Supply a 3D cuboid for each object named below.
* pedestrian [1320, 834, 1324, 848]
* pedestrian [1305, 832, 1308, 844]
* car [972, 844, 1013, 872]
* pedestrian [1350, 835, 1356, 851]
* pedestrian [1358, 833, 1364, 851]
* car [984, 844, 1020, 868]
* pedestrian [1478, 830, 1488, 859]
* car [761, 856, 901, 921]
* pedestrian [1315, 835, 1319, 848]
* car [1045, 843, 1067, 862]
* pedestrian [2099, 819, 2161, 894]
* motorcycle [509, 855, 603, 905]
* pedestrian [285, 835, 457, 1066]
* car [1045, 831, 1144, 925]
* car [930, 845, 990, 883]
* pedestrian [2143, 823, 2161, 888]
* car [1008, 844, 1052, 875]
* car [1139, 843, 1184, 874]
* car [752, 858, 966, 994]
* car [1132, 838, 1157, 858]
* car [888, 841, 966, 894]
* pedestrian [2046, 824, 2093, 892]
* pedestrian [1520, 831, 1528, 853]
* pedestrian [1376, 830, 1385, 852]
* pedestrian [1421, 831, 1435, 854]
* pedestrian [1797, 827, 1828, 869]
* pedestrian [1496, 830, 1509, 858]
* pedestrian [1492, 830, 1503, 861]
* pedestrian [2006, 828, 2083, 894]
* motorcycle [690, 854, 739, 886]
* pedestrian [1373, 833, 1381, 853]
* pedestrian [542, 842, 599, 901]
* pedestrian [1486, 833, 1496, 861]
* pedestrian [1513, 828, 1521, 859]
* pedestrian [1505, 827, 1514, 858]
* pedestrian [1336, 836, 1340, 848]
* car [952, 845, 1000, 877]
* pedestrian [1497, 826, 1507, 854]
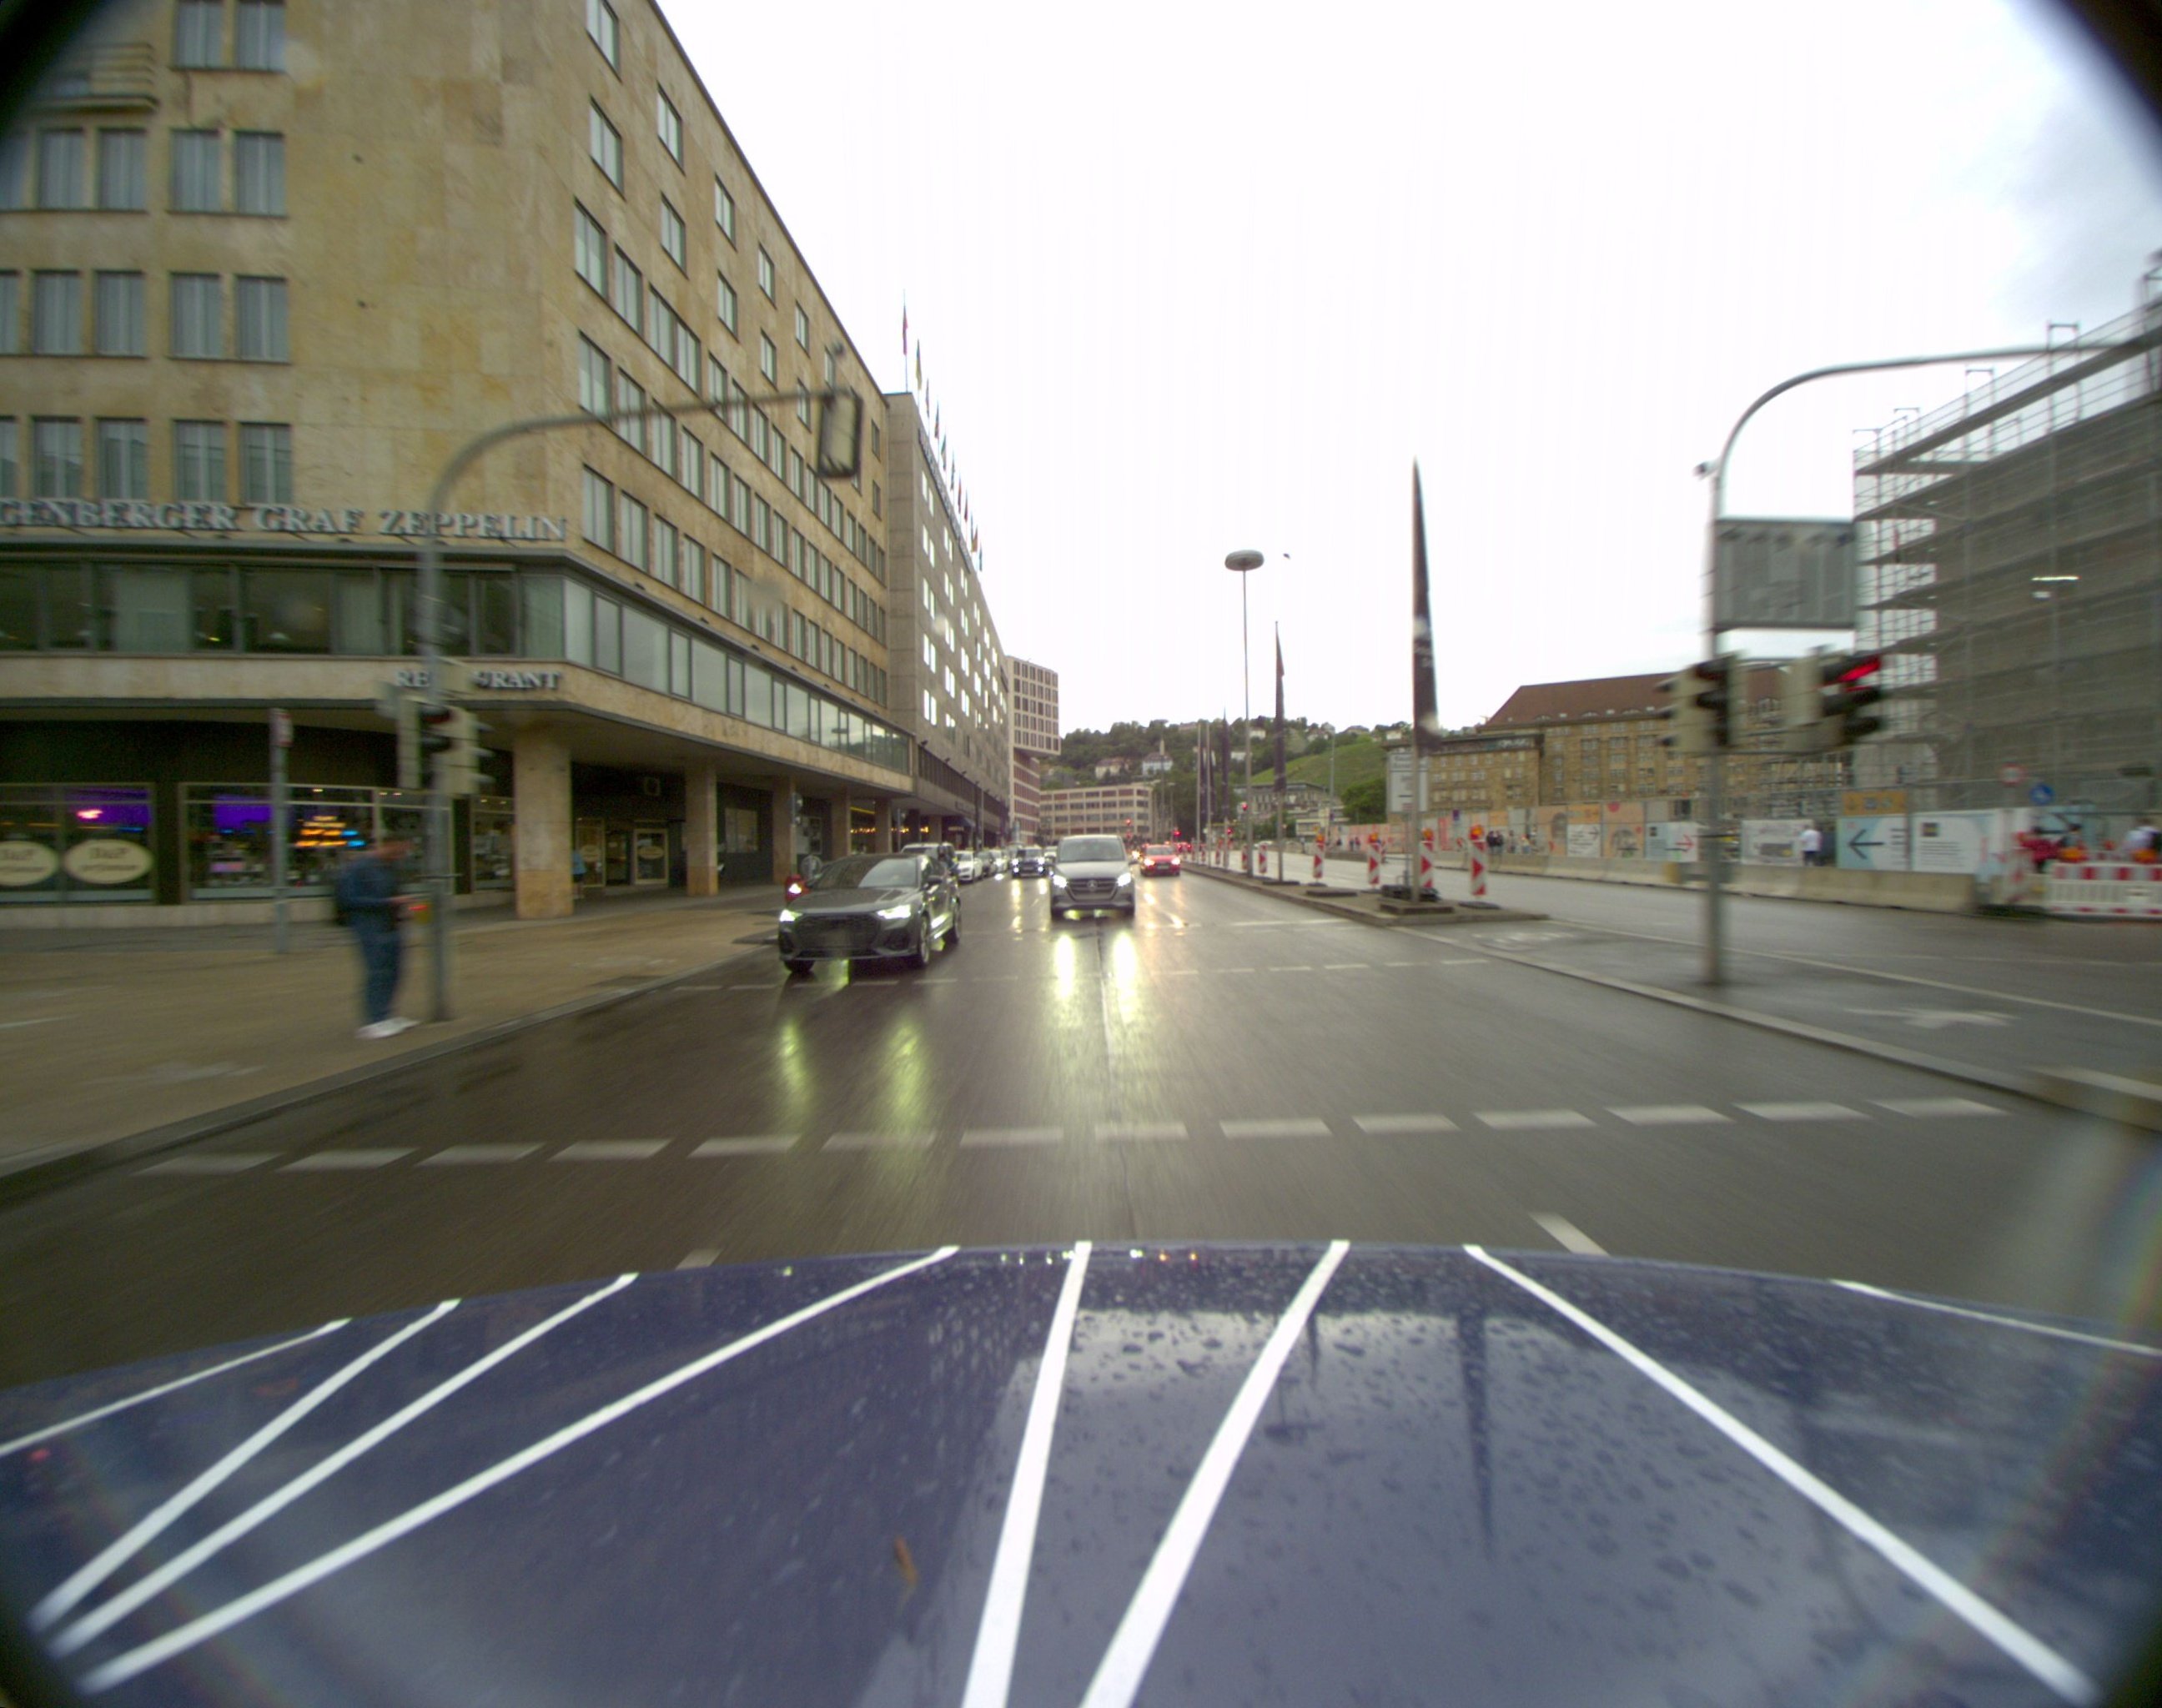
[{"bbox_3d":[29.938,-1.616,94.471,0.387,1.607,0.413,-2,1,0],"label":"pedestrian"},{"bbox_3d":[31.532,-2.237,106.291,0.334,1.607,0.323,-2,1,0],"label":"pedestrian"},{"bbox_3d":[-5.585,0.219,48.487,1.998,1.600,4.875,-1,1,0],"label":"car"},{"bbox_3d":[27.475,-1.134,76.681,0.438,1.607,0.413,-2,1,0],"label":"pedestrian"},{"bbox_3d":[26.484,-1.127,71.874,0.438,1.607,0.413,-2,1,0],"label":"pedestrian"},{"bbox_3d":[-5.629,0.088,54.806,1.998,1.605,4.917,-1,1,0],"label":"car"},{"bbox_3d":[24.390,-0.555,46.109,0.367,1.759,0.390,-2,1,4],"label":"pedestrian"},{"bbox_3d":[-6.419,0.828,20.160,2.194,1.406,4.481,-1,1,0],"label":"car"},{"bbox_3d":[29.408,-1.571,94.583,0.375,1.607,0.357,-2,1,0],"label":"pedestrian"},{"bbox_3d":[-2.271,-0.136,69.107,1.763,1.582,3.841,-2,1,0],"label":"car"},{"bbox_3d":[24.110,0.050,17.264,0.756,1.655,0.872,-1,1,1],"label":"pedestrian"},{"bbox_3d":[-16.811,0.794,24.469,0.964,1.445,2.850,-1,1,0],"label":"motorcycle"},{"bbox_3d":[-6.223,0.805,6.711,0.674,1.908,0.792,-2,1,0],"label":"pedestrian"},{"bbox_3d":[0.166,0.483,18.711,1.999,1.893,5.248,-3,1,-3],"label":"car"},{"bbox_3d":[-5.708,0.417,36.479,1.998,1.644,5.134,-1,1,0],"label":"car"},{"bbox_3d":[27.781,0.042,19.290,0.665,1.655,0.697,-2,2,-9],"label":"pedestrian"},{"bbox_3d":[-2.659,0.249,40.502,1.998,1.549,3.908,-1,1,0],"label":"car"},{"bbox_3d":[3.767,0.182,36.207,1.747,1.369,3.999,-1,1,0],"label":"car"},{"bbox_3d":[-2.968,0.877,11.172,1.877,1.499,4.163,-1,1,0],"label":"car"},{"bbox_3d":[5.126,-0.499,61.699,1.672,1.513,3.724,-2,1,0],"label":"car"},{"bbox_3d":[-5.942,0.439,29.984,1.998,1.874,4.996,-1,1,0],"label":"car"},{"bbox_3d":[26.060,0.108,20.037,0.648,1.759,0.527,0,2,40],"label":"pedestrian"},{"bbox_3d":[25.152,-0.682,43.153,0.255,1.187,0.390,-2,2,6],"label":"pedestrian"},{"bbox_3d":[28.008,-1.174,71.063,0.593,2.022,0.686,-2,1,0],"label":"pedestrian"},{"bbox_3d":[25.516,-0.827,55.876,0.807,1.675,0.617,-1,1,3],"label":"pedestrian"},{"bbox_3d":[25.617,-0.222,26.615,0.565,1.435,0.528,-1,1,8],"label":"pedestrian"},{"bbox_3d":[26.239,-0.629,47.270,0.517,1.745,0.463,-2,2,0],"label":"pedestrian"},{"bbox_3d":[23.886,-0.492,43.570,0.368,1.759,0.365,-2,1,1],"label":"pedestrian"},{"bbox_3d":[23.465,0.158,18.523,0.953,1.558,0.709,-1,1,1],"label":"pedestrian"},{"bbox_3d":[-15.076,0.636,31.331,0.730,1.223,2.536,-1,1,0],"label":"motorcycle"},{"bbox_3d":[29.395,-1.099,75.536,0.542,2.002,0.490,-2,2,0],"label":"pedestrian"},{"bbox_3d":[-16.422,0.540,24.467,1.000,1.837,1.109,-1,2,2],"label":"pedestrian"},{"bbox_3d":[23.467,-0.401,43.509,0.350,1.607,0.321,-2,1,1],"label":"pedestrian"},{"bbox_3d":[24.851,-0.616,43.314,0.314,1.760,0.268,-2,2,4],"label":"pedestrian"},{"bbox_3d":[24.531,-0.670,43.531,0.311,1.759,0.346,-2,1,4],"label":"pedestrian"},{"bbox_3d":[28.278,-1.297,83.539,0.271,1.304,0.351,-2,1,0],"label":"pedestrian"},{"bbox_3d":[-5.790,0.336,42.456,1.998,1.627,4.559,-1,1,0],"label":"car"},{"bbox_3d":[24.417,-0.816,44.069,0.400,1.611,0.365,-2,2,5],"label":"pedestrian"}]
